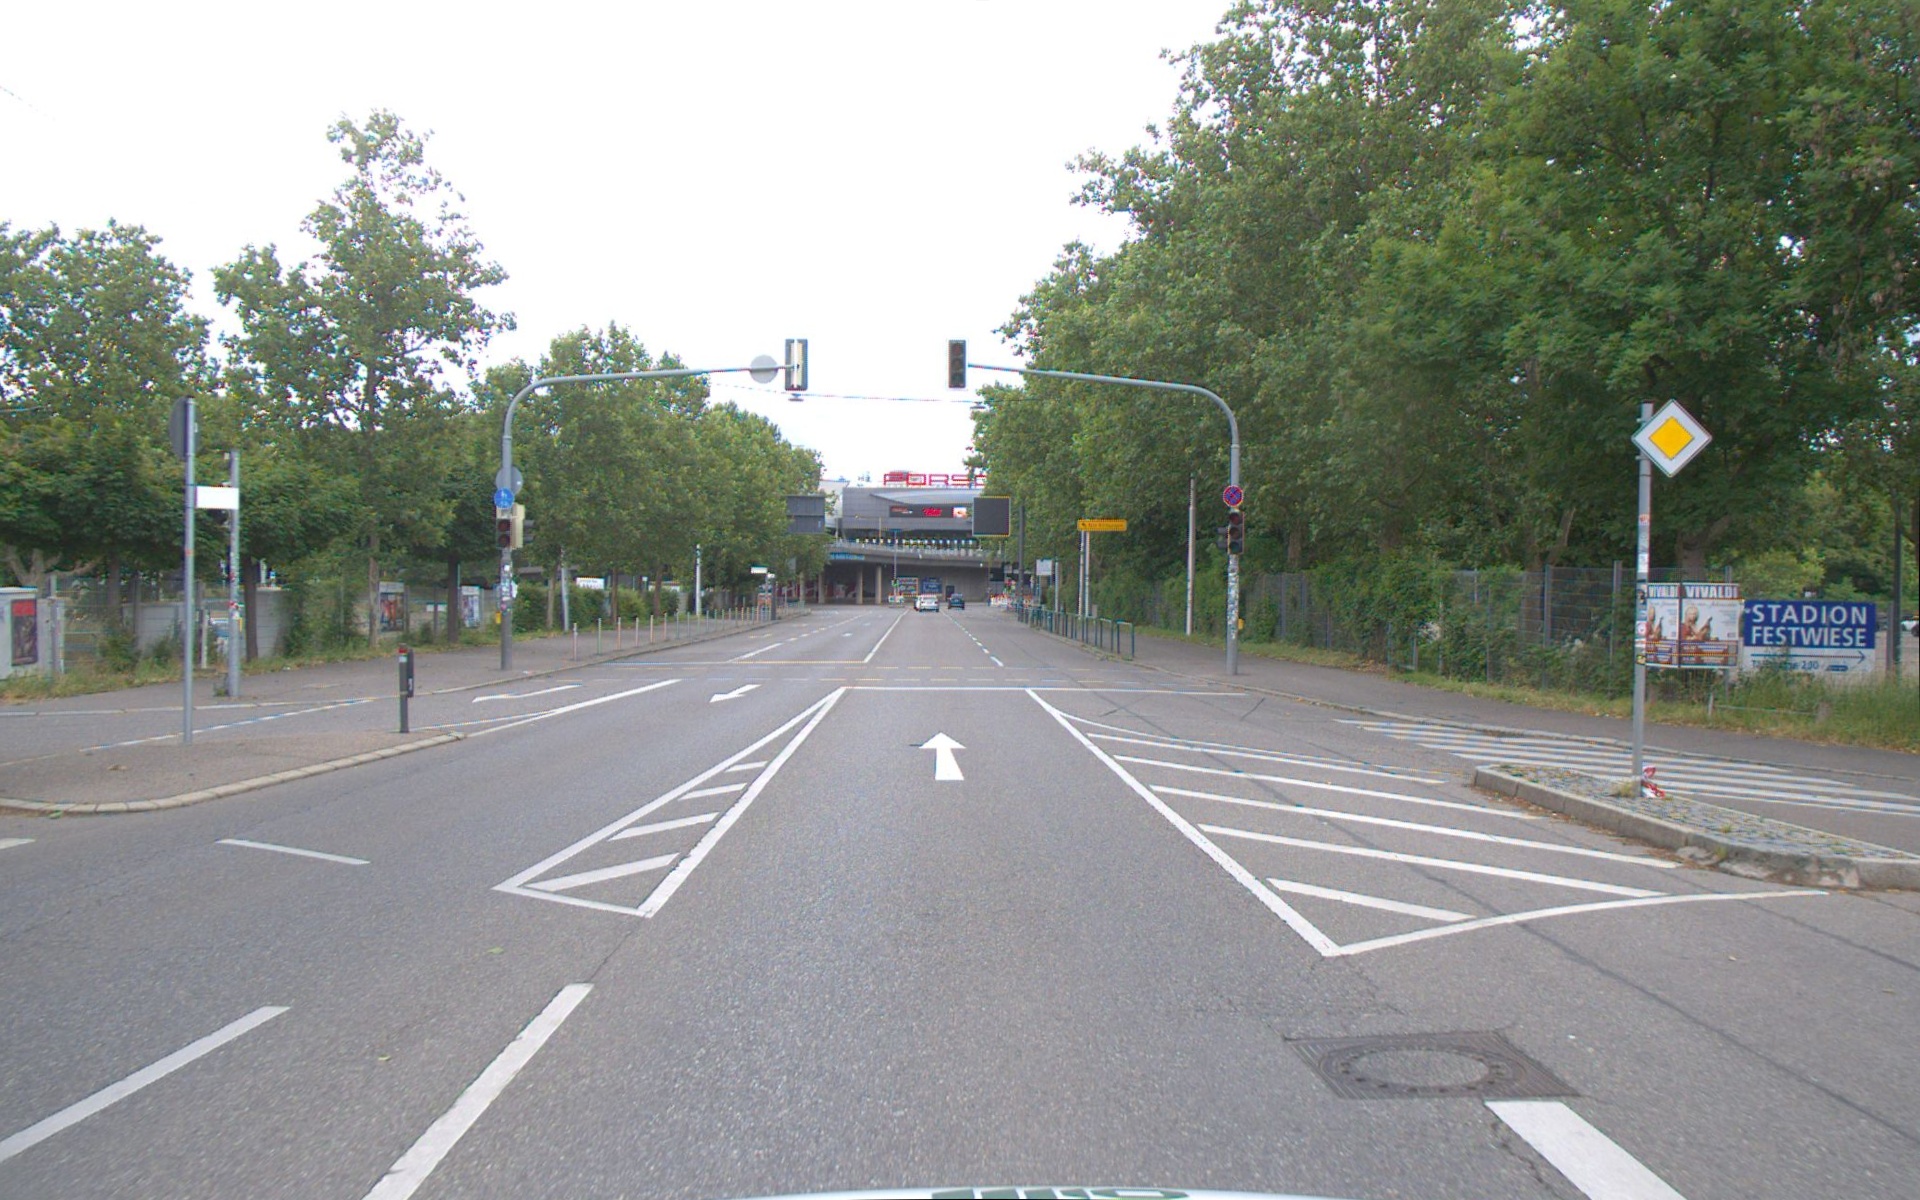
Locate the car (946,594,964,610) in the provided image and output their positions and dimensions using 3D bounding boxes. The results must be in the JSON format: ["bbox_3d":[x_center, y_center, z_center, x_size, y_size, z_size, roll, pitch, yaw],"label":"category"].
[{"bbox_3d":[-0.528,0.264,184.906,1.966,1.728,4.069,1,0,0],"label":"car"}]

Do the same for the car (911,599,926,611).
[{"bbox_3d":[-4.039,0.438,161.078,1.382,1.133,3.037,1,0,-1],"label":"car"}]

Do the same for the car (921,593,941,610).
[{"bbox_3d":[-2.644,0.149,152.021,1.742,1.486,3.821,2,0,0],"label":"car"}]

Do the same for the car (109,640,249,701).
[{"bbox_3d":[-26.609,2.365,56.523,1.841,1.867,4.596,2,0,13],"label":"car"}]
